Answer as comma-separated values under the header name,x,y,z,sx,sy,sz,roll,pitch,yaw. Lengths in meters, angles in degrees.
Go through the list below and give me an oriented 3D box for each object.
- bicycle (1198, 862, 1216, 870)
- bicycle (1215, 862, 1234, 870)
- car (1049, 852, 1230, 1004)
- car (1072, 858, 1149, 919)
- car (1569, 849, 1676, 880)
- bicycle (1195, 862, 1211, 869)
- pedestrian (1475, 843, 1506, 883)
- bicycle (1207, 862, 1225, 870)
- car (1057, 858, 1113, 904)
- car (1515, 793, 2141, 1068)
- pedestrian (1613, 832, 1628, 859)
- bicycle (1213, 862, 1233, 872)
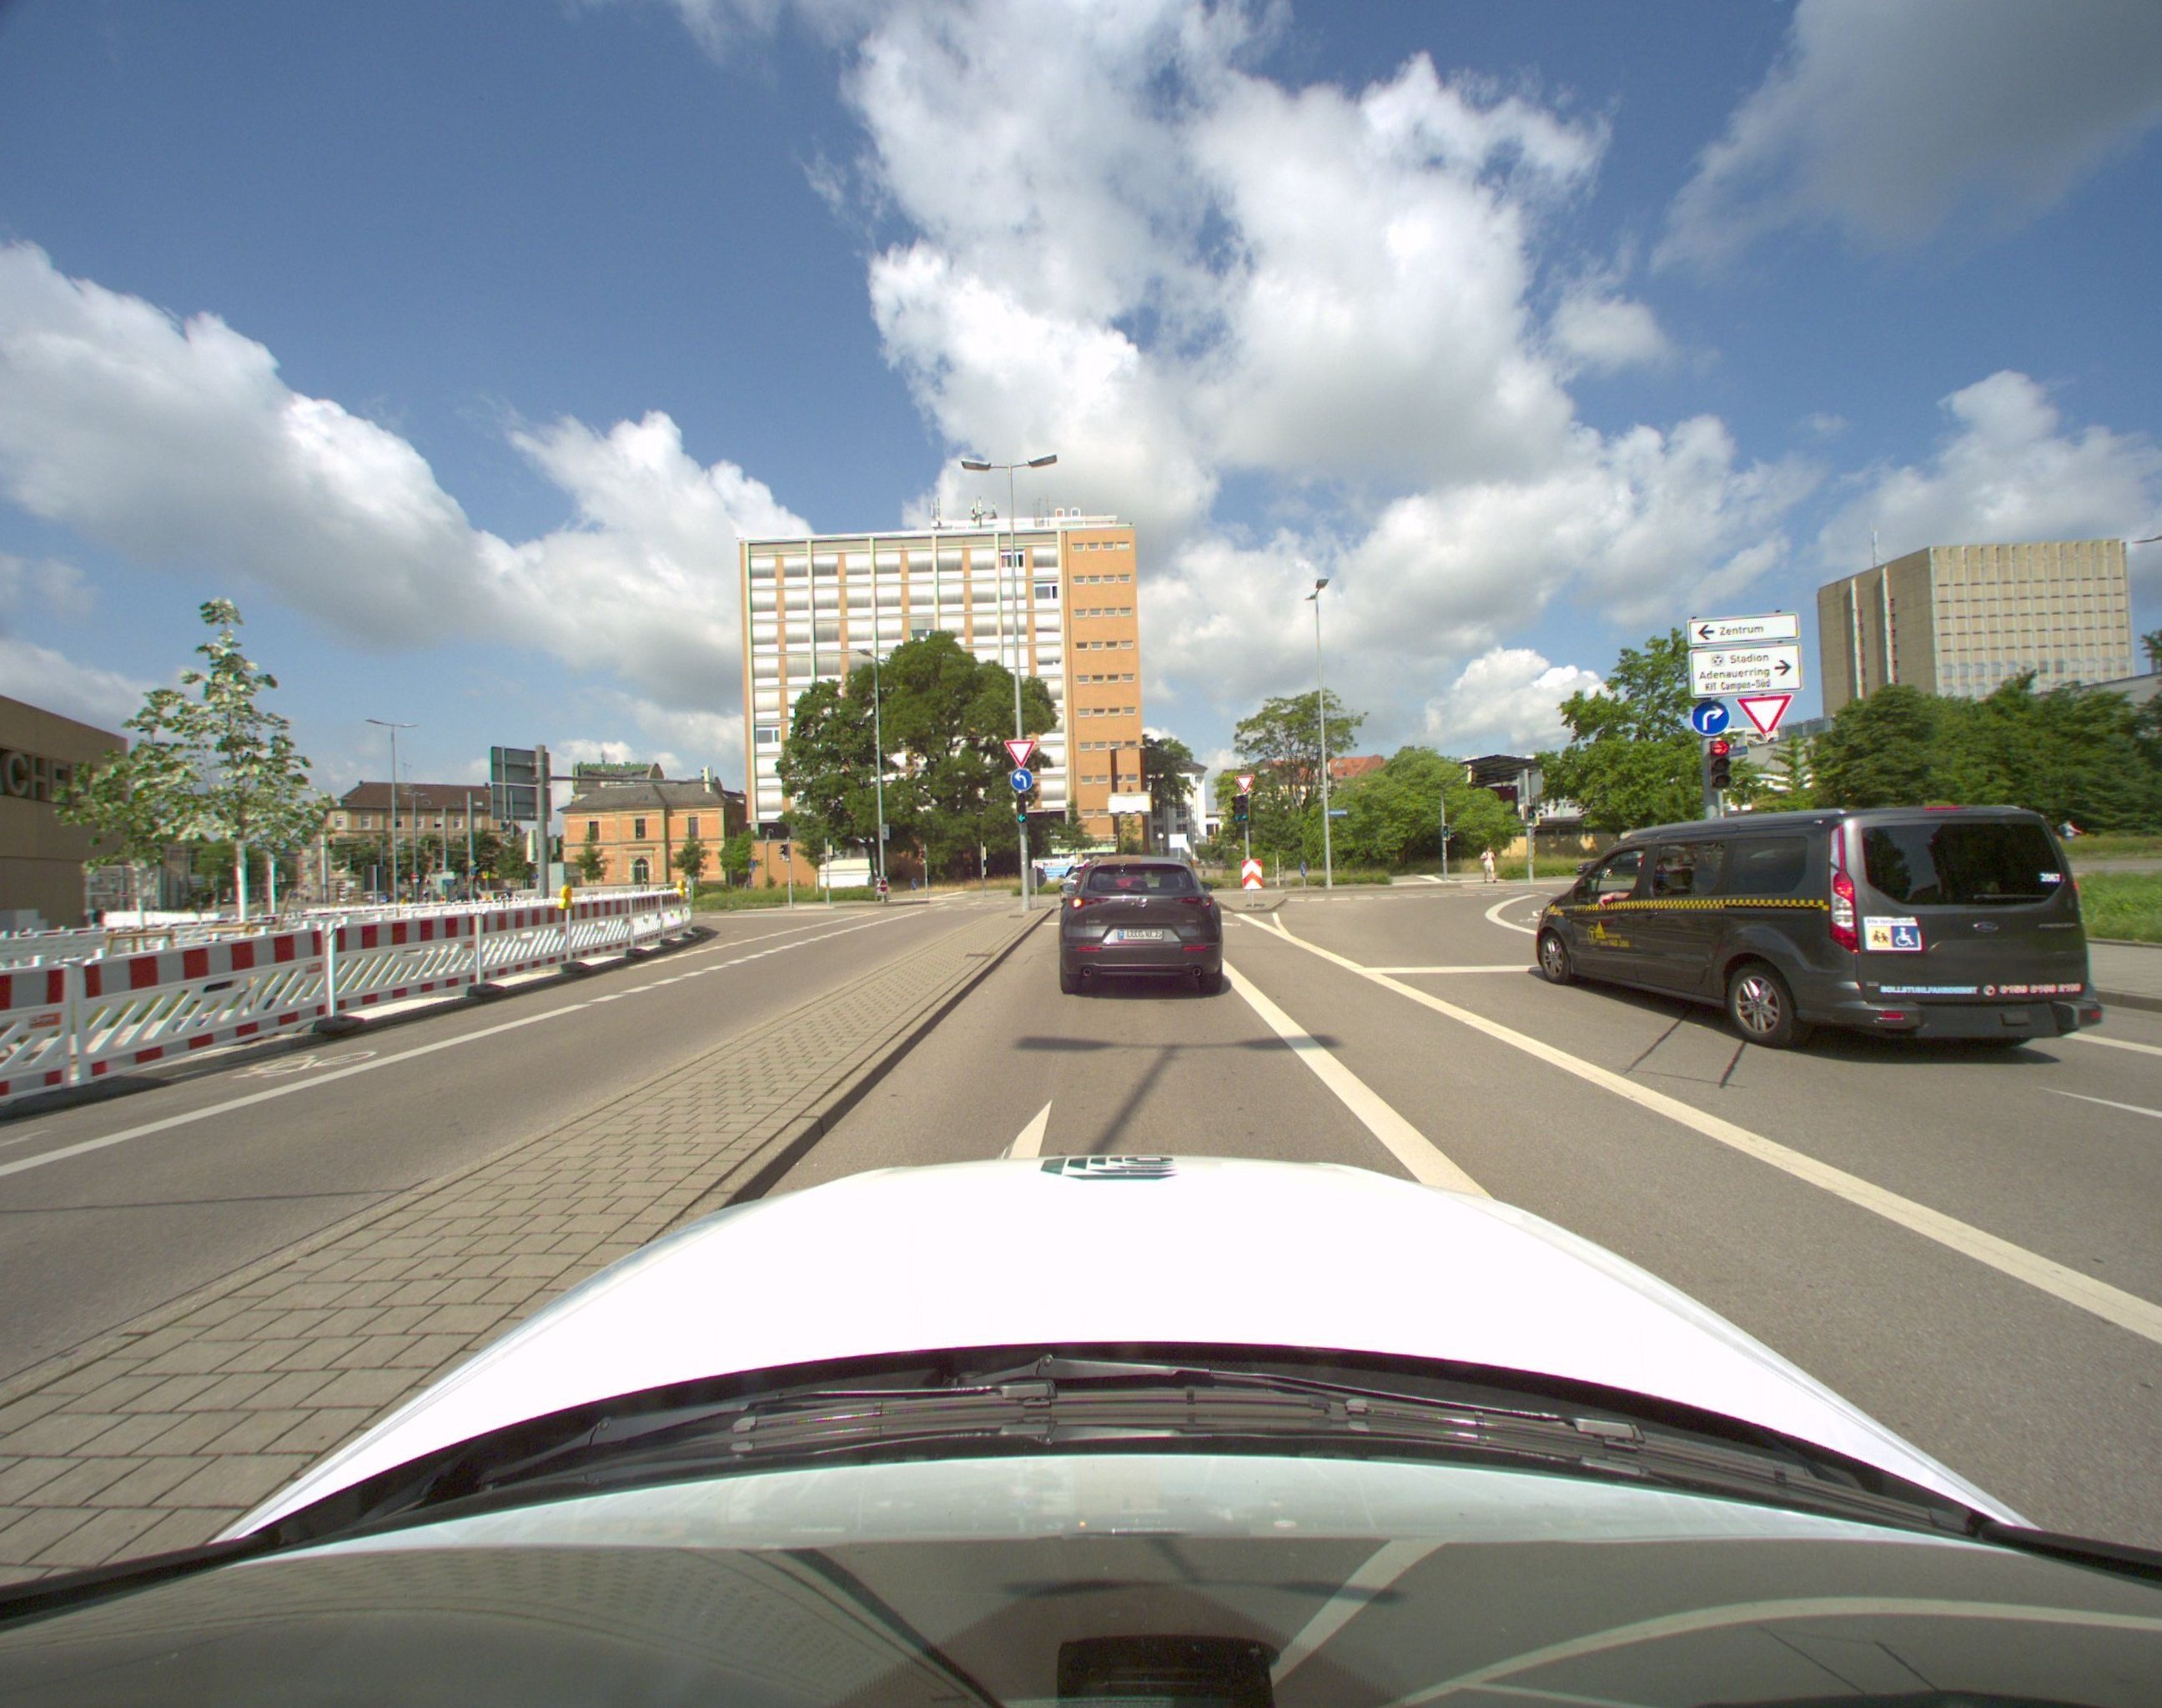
name,x,y,z,sx,sy,sz,roll,pitch,yaw
bicycle,16.097,1.494,104.034,2.048,0.936,0.804,-2,-1,0
bicycle,16.706,1.395,94.542,2.048,0.936,0.804,-2,-1,0
car,0.642,0.755,10.257,1.799,1.508,4.206,0,0,1
car,0.817,0.825,21.358,1.809,1.439,4.070,-1,0,3
car,27.659,0.509,41.703,4.129,1.377,2.002,-3,0,3
bicycle,16.342,1.541,108.891,2.048,0.936,0.804,-2,-1,0
pedestrian,20.034,0.434,39.834,0.696,1.857,1.177,-3,-3,-9
bicycle,16.439,1.444,99.286,2.048,0.936,0.804,-2,-1,0
car,0.197,0.937,29.863,1.841,1.472,4.336,-3,-1,1
car,6.159,0.523,7.719,1.841,1.785,4.676,-1,0,4
pedestrian,32.421,-0.503,48.967,0.521,1.608,0.542,0,-1,-2
bicycle,16.013,1.465,91.837,2.048,0.936,0.804,-2,-1,0
